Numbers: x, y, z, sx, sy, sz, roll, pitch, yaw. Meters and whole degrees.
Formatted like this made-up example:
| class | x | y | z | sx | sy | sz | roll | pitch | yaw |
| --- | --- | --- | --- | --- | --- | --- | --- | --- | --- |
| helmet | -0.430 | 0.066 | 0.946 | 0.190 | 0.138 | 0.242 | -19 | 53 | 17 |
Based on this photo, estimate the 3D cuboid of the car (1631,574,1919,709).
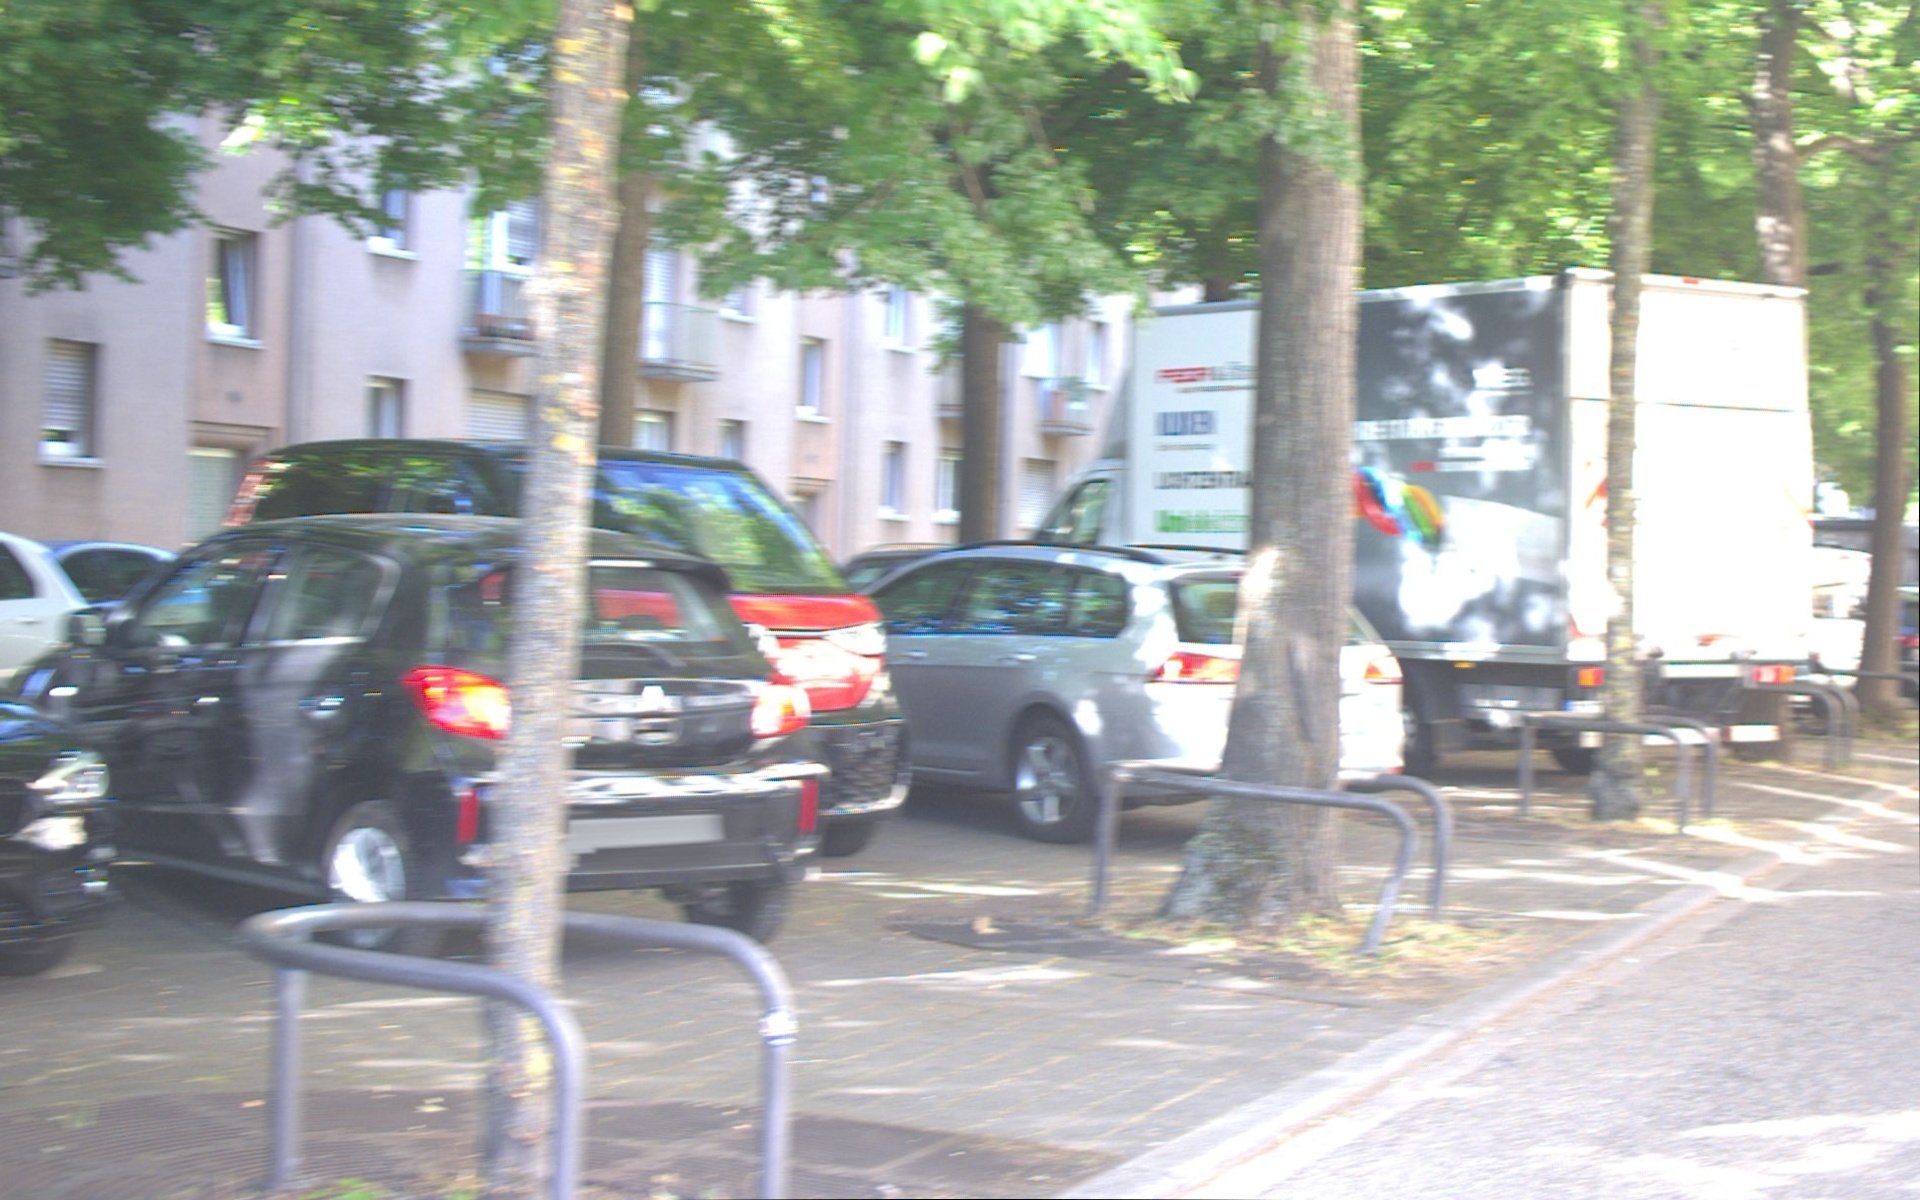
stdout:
| class | x | y | z | sx | sy | sz | roll | pitch | yaw |
| --- | --- | --- | --- | --- | --- | --- | --- | --- | --- |
| car | 10.564 | 0.490 | 42.243 | 1.782 | 1.450 | 4.489 | 2 | 1 | -37 |

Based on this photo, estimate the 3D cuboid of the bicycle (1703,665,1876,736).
| class | x | y | z | sx | sy | sz | roll | pitch | yaw |
| --- | --- | --- | --- | --- | --- | --- | --- | --- | --- |
| bicycle | 7.511 | 0.908 | 31.182 | 0.408 | 0.556 | 1.614 | 1 | 1 | -37 |

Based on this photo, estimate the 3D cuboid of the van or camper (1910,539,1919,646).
| class | x | y | z | sx | sy | sz | roll | pitch | yaw |
| --- | --- | --- | --- | --- | --- | --- | --- | --- | --- |
| van or camper | 31.955 | -0.139 | 102.477 | 2.488 | 3.230 | 6.676 | 1 | 1 | -40 |

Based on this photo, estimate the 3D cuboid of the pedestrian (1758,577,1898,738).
| class | x | y | z | sx | sy | sz | roll | pitch | yaw |
| --- | --- | --- | --- | --- | --- | --- | --- | --- | --- |
| pedestrian | 7.741 | 0.512 | 30.652 | 0.926 | 1.392 | 0.753 | 1 | 1 | -37 |

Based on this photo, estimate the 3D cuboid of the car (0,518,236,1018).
| class | x | y | z | sx | sy | sz | roll | pitch | yaw |
| --- | --- | --- | --- | --- | --- | --- | --- | --- | --- |
| car | -4.202 | 0.403 | 11.011 | 1.816 | 1.417 | 3.947 | 1 | 1 | -44 |

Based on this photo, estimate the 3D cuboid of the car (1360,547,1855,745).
| class | x | y | z | sx | sy | sz | roll | pitch | yaw |
| --- | --- | --- | --- | --- | --- | --- | --- | --- | --- |
| car | 5.585 | 0.369 | 30.100 | 1.728 | 1.501 | 4.108 | 2 | 1 | -37 |

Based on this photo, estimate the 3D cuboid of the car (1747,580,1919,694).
| class | x | y | z | sx | sy | sz | roll | pitch | yaw |
| --- | --- | --- | --- | --- | --- | --- | --- | --- | --- |
| car | 13.158 | 0.544 | 47.336 | 1.711 | 1.457 | 4.423 | 3 | 0 | -36 |

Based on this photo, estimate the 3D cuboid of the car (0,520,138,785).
| class | x | y | z | sx | sy | sz | roll | pitch | yaw |
| --- | --- | --- | --- | --- | --- | --- | --- | --- | --- |
| car | -6.317 | 0.263 | 18.973 | 1.755 | 1.481 | 3.946 | 2 | 1 | 15 |

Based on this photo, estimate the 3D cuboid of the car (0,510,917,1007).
| class | x | y | z | sx | sy | sz | roll | pitch | yaw |
| --- | --- | --- | --- | --- | --- | --- | --- | --- | --- |
| car | -2.067 | 0.459 | 12.507 | 1.756 | 1.476 | 3.822 | 2 | 1 | -40 |

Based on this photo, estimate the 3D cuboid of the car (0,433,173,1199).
| class | x | y | z | sx | sy | sz | roll | pitch | yaw |
| --- | --- | --- | --- | --- | --- | --- | --- | --- | --- |
| car | -3.318 | 0.432 | 6.427 | 1.831 | 1.665 | 4.336 | 2 | 3 | -39 |

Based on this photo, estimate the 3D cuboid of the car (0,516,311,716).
| class | x | y | z | sx | sy | sz | roll | pitch | yaw |
| --- | --- | --- | --- | --- | --- | --- | --- | --- | --- |
| car | -6.990 | 0.087 | 26.604 | 1.766 | 1.430 | 4.338 | 2 | 1 | 22 |

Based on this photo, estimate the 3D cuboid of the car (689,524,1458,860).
| class | x | y | z | sx | sy | sz | roll | pitch | yaw |
| --- | --- | --- | --- | --- | --- | --- | --- | --- | --- |
| car | 0.461 | 0.411 | 18.282 | 1.808 | 1.502 | 4.343 | 2 | 1 | -35 |

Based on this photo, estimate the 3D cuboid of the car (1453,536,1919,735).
| class | x | y | z | sx | sy | sz | roll | pitch | yaw |
| --- | --- | --- | --- | --- | --- | --- | --- | --- | --- |
| car | 7.718 | 0.348 | 36.561 | 2.075 | 1.858 | 4.522 | 2 | 1 | -43 |

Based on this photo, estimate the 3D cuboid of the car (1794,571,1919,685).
| class | x | y | z | sx | sy | sz | roll | pitch | yaw |
| --- | --- | --- | --- | --- | --- | --- | --- | --- | --- |
| car | 15.250 | 0.469 | 53.492 | 1.754 | 1.673 | 4.146 | 2 | 1 | -40 |

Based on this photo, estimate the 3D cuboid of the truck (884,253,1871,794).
| class | x | y | z | sx | sy | sz | roll | pitch | yaw |
| --- | --- | --- | --- | --- | --- | --- | --- | --- | --- |
| truck | 2.671 | -0.536 | 24.541 | 2.539 | 3.282 | 7.324 | 1 | 1 | -37 |

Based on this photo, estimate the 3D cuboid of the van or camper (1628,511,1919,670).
| class | x | y | z | sx | sy | sz | roll | pitch | yaw |
| --- | --- | --- | --- | --- | --- | --- | --- | --- | --- |
| van or camper | 16.705 | -0.220 | 67.048 | 2.307 | 2.920 | 7.247 | 1 | 1 | -41 |

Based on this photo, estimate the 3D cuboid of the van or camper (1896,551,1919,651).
| class | x | y | z | sx | sy | sz | roll | pitch | yaw |
| --- | --- | --- | --- | --- | --- | --- | --- | --- | --- |
| van or camper | 27.707 | 0.107 | 90.074 | 2.248 | 2.628 | 5.885 | 1 | 1 | -39 |

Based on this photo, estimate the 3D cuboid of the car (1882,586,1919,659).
| class | x | y | z | sx | sy | sz | roll | pitch | yaw |
| --- | --- | --- | --- | --- | --- | --- | --- | --- | --- |
| car | 20.437 | 0.521 | 67.355 | 1.670 | 1.419 | 4.328 | 2 | 1 | -42 |

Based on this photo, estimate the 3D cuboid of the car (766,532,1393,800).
| class | x | y | z | sx | sy | sz | roll | pitch | yaw |
| --- | --- | --- | --- | --- | --- | --- | --- | --- | --- |
| car | 0.665 | 0.373 | 22.443 | 1.808 | 1.502 | 4.343 | 2 | 1 | -35 |

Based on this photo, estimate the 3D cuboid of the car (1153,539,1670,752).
| class | x | y | z | sx | sy | sz | roll | pitch | yaw |
| --- | --- | --- | --- | --- | --- | --- | --- | --- | --- |
| car | 3.598 | 0.339 | 27.992 | 1.843 | 1.497 | 3.999 | 2 | 1 | -37 |

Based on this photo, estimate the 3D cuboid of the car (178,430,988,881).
| class | x | y | z | sx | sy | sz | roll | pitch | yaw |
| --- | --- | --- | --- | --- | --- | --- | --- | --- | --- |
| car | -1.979 | 0.180 | 16.629 | 1.929 | 1.867 | 4.503 | 2 | 1 | -35 |
